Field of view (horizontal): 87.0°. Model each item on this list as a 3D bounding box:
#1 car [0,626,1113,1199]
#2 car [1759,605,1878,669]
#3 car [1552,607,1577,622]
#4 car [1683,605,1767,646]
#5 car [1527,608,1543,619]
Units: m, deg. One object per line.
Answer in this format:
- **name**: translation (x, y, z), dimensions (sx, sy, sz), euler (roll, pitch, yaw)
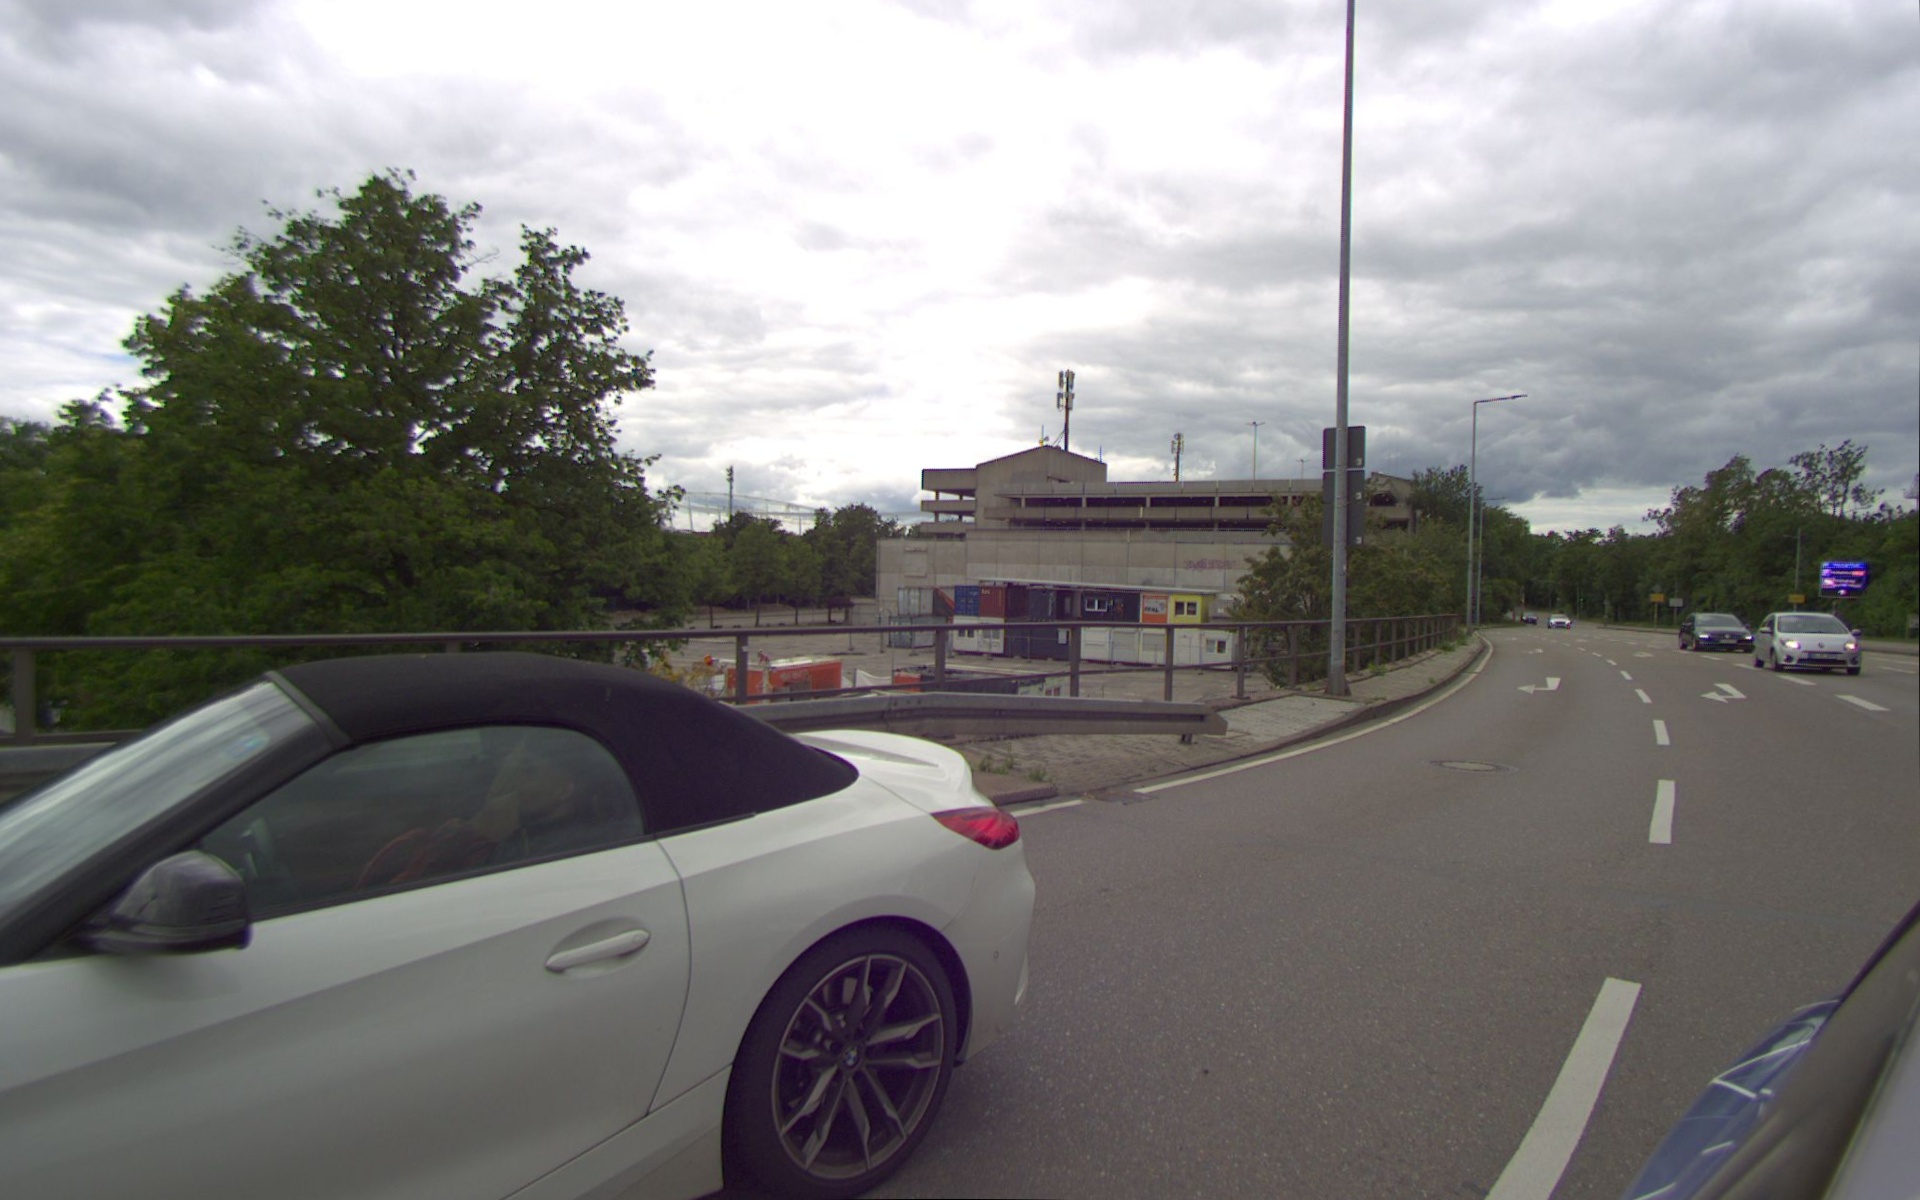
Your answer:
- **car**: translation (-1.732, 0.769, 2.379), dimensions (4.186, 1.308, 1.809), euler (0, 0, -39)
- **car**: translation (21.006, 0.853, 24.890), dimensions (1.597, 1.434, 3.553), euler (1, 0, 30)
- **car**: translation (60.314, 1.400, 100.987), dimensions (1.848, 1.434, 4.296), euler (1, 0, 28)
- **car**: translation (28.717, 0.903, 38.103), dimensions (1.849, 1.434, 4.295), euler (1, 0, 28)
- **car**: translation (81.533, 1.934, 143.527), dimensions (1.849, 1.434, 4.295), euler (1, 0, 28)
